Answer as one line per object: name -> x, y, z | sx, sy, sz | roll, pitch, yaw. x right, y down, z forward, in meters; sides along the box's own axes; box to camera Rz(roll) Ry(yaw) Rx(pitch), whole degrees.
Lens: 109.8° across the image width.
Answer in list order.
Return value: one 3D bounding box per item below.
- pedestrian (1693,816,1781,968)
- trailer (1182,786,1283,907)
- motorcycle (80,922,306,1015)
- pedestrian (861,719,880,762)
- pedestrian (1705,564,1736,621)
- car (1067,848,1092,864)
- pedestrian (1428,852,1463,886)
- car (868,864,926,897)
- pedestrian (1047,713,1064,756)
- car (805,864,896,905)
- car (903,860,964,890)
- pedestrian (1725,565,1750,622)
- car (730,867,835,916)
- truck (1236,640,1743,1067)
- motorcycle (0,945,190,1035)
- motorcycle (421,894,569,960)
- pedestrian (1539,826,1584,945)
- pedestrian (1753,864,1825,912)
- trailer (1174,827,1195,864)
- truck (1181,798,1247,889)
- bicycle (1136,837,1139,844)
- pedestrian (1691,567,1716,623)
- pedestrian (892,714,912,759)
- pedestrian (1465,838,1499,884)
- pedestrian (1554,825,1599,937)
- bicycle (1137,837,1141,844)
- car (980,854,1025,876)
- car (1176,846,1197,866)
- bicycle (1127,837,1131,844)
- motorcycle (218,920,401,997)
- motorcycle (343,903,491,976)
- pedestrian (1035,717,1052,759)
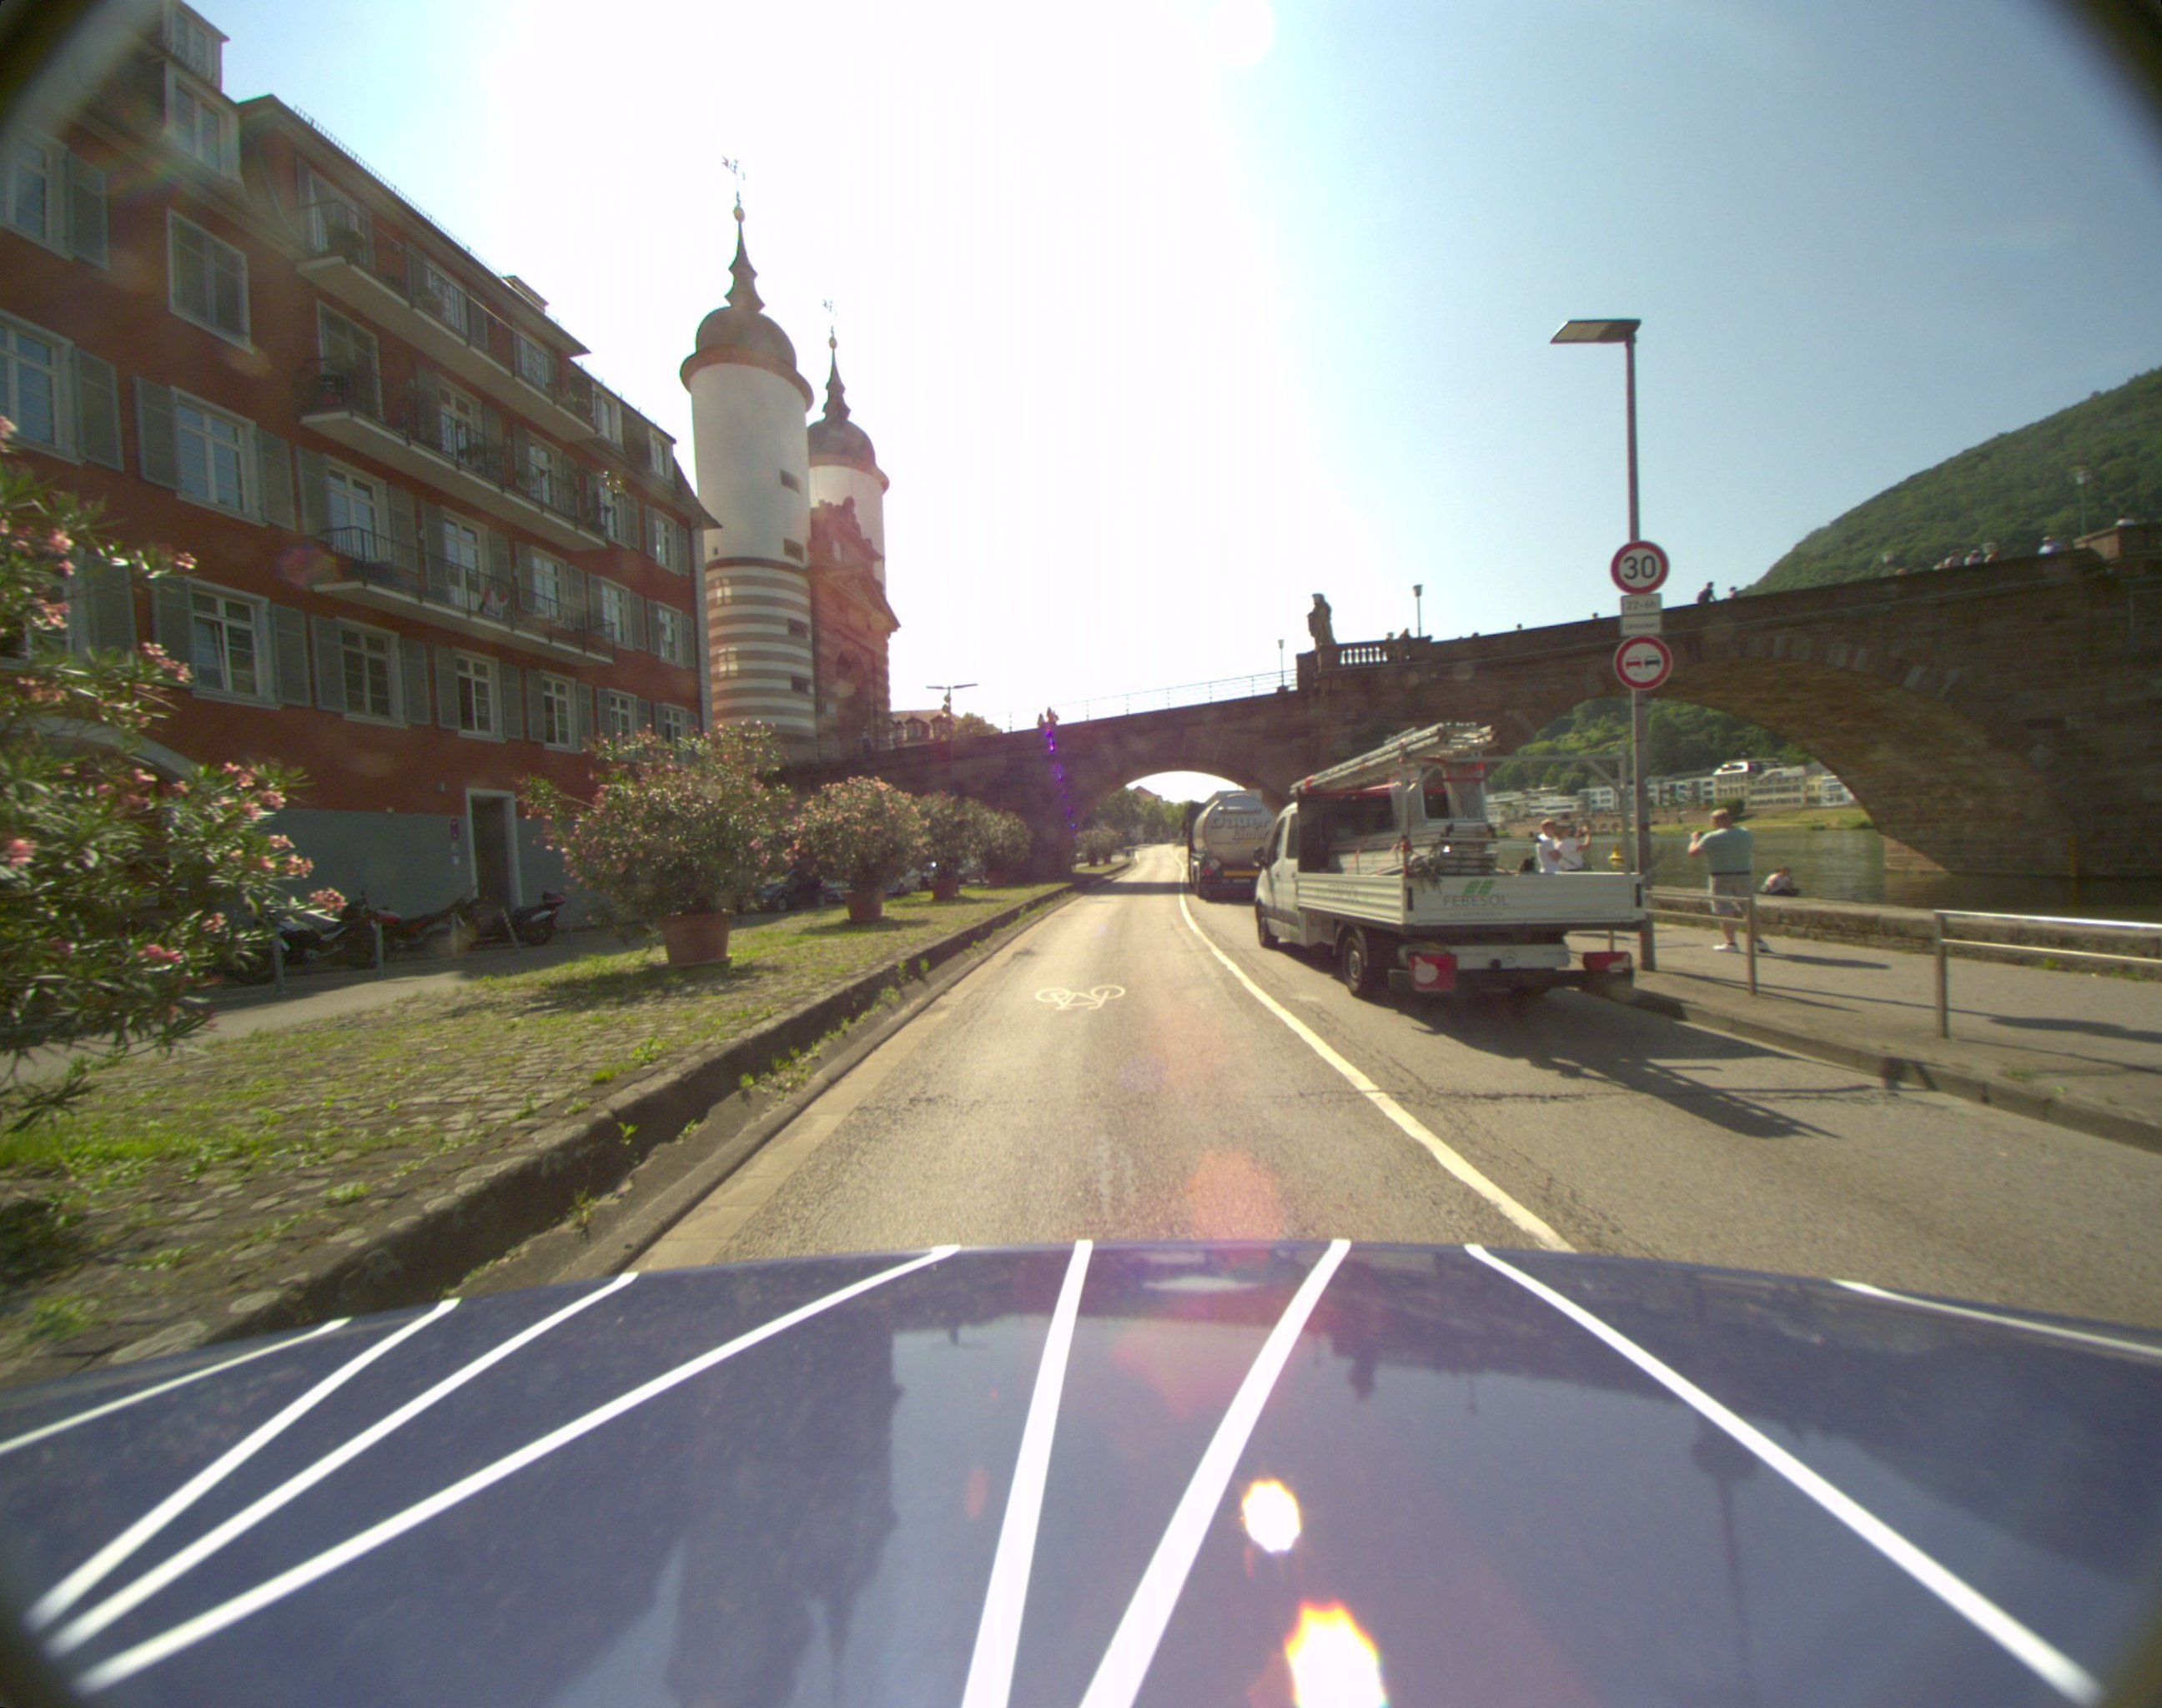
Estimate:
pedestrian -> 7.793, 0.428, 9.024 | 0.758, 1.712, 0.543 | -3, 1, -32
trailer -> 5.359, -0.253, 28.834 | 2.529, 3.623, 11.535 | -1, 0, 5
motorcycle -> -13.870, 1.749, 11.983 | 2.202, 1.141, 0.627 | -2, 1, -38
pedestrian -> -10.192, -5.490, 36.798 | 0.579, 2.002, 0.707 | -1, 2, 8
pedestrian -> 25.367, -10.361, 30.144 | 0.694, 2.002, 0.625 | -2, 2, 1
car -> -0.073, 0.189, 76.680 | 1.614, 1.405, 3.906 | -2, 2, 13
pedestrian -> 13.461, 0.544, 28.123 | 0.790, 1.222, 1.026 | -3, 0, 3
car -> -8.991, 1.252, 37.389 | 1.557, 1.411, 3.570 | -2, 1, 7
pedestrian -> -1.246, -5.874, 37.410 | 0.639, 2.002, 0.707 | -1, 2, 8
car -> -9.860, 1.275, 32.952 | 1.896, 1.484, 4.419 | -1, 1, 11
car -> -8.172, 1.131, 42.556 | 1.778, 1.428, 4.495 | -2, 1, 10
pedestrian -> 26.005, -10.320, 30.102 | 0.467, 2.002, 0.639 | -2, 2, 1
car -> -11.032, 1.346, 28.380 | 1.674, 1.533, 3.814 | -3, 0, 14
truck -> 3.885, 0.012, 9.606 | 2.382, 3.242, 7.611 | 0, 0, 1
motorcycle -> -13.835, 1.861, 10.456 | 1.935, 0.981, 0.546 | -2, 1, -38
motorcycle -> -13.081, 1.593, 17.082 | 2.547, 1.226, 0.840 | -2, 0, -35
pedestrian -> 7.503, 0.474, 11.882 | 0.520, 1.782, 0.823 | -3, 1, 32
pedestrian -> 17.287, 0.816, 18.579 | 0.967, 1.124, 0.831 | -2, 0, 10
trailer -> 9.357, -0.785, 68.366 | 1.745, 3.302, 3.385 | 0, 2, 9
truck -> 5.922, -0.436, 34.610 | 2.529, 3.727, 6.249 | 0, 0, 6
bicycle -> 10.420, -2.490, 139.912 | 0.476, 1.255, 2.163 | 0, 2, 9
pedestrian -> 24.717, -10.285, 30.174 | 0.467, 2.002, 0.639 | -2, 2, 1
pedestrian -> -8.591, -5.639, 36.512 | 0.639, 2.002, 0.707 | -1, 2, 8
pedestrian -> 14.712, 0.260, 27.871 | 0.790, 1.641, 0.774 | -3, 0, 3
pedestrian -> 8.185, 0.433, 12.563 | 0.543, 1.782, 0.823 | -3, 1, 32
bicycle -> 10.869, -2.454, 142.130 | 0.476, 1.255, 2.163 | 0, 2, 9
car -> -5.487, 0.760, 53.609 | 1.720, 1.403, 3.887 | -1, 1, 18
car -> 10.154, 0.188, 72.950 | 1.878, 1.817, 4.546 | -1, 1, 9
bicycle -> 8.221, -2.354, 129.408 | 0.344, 1.106, 1.920 | -1, 2, 15
motorcycle -> -13.649, 1.813, 13.556 | 2.202, 1.070, 0.627 | -2, 1, -38
motorcycle -> -13.365, 1.690, 15.401 | 2.157, 1.226, 0.840 | -2, 0, -35
pedestrian -> -1.890, -5.883, 38.527 | 0.639, 2.002, 0.707 | -1, 2, 8
